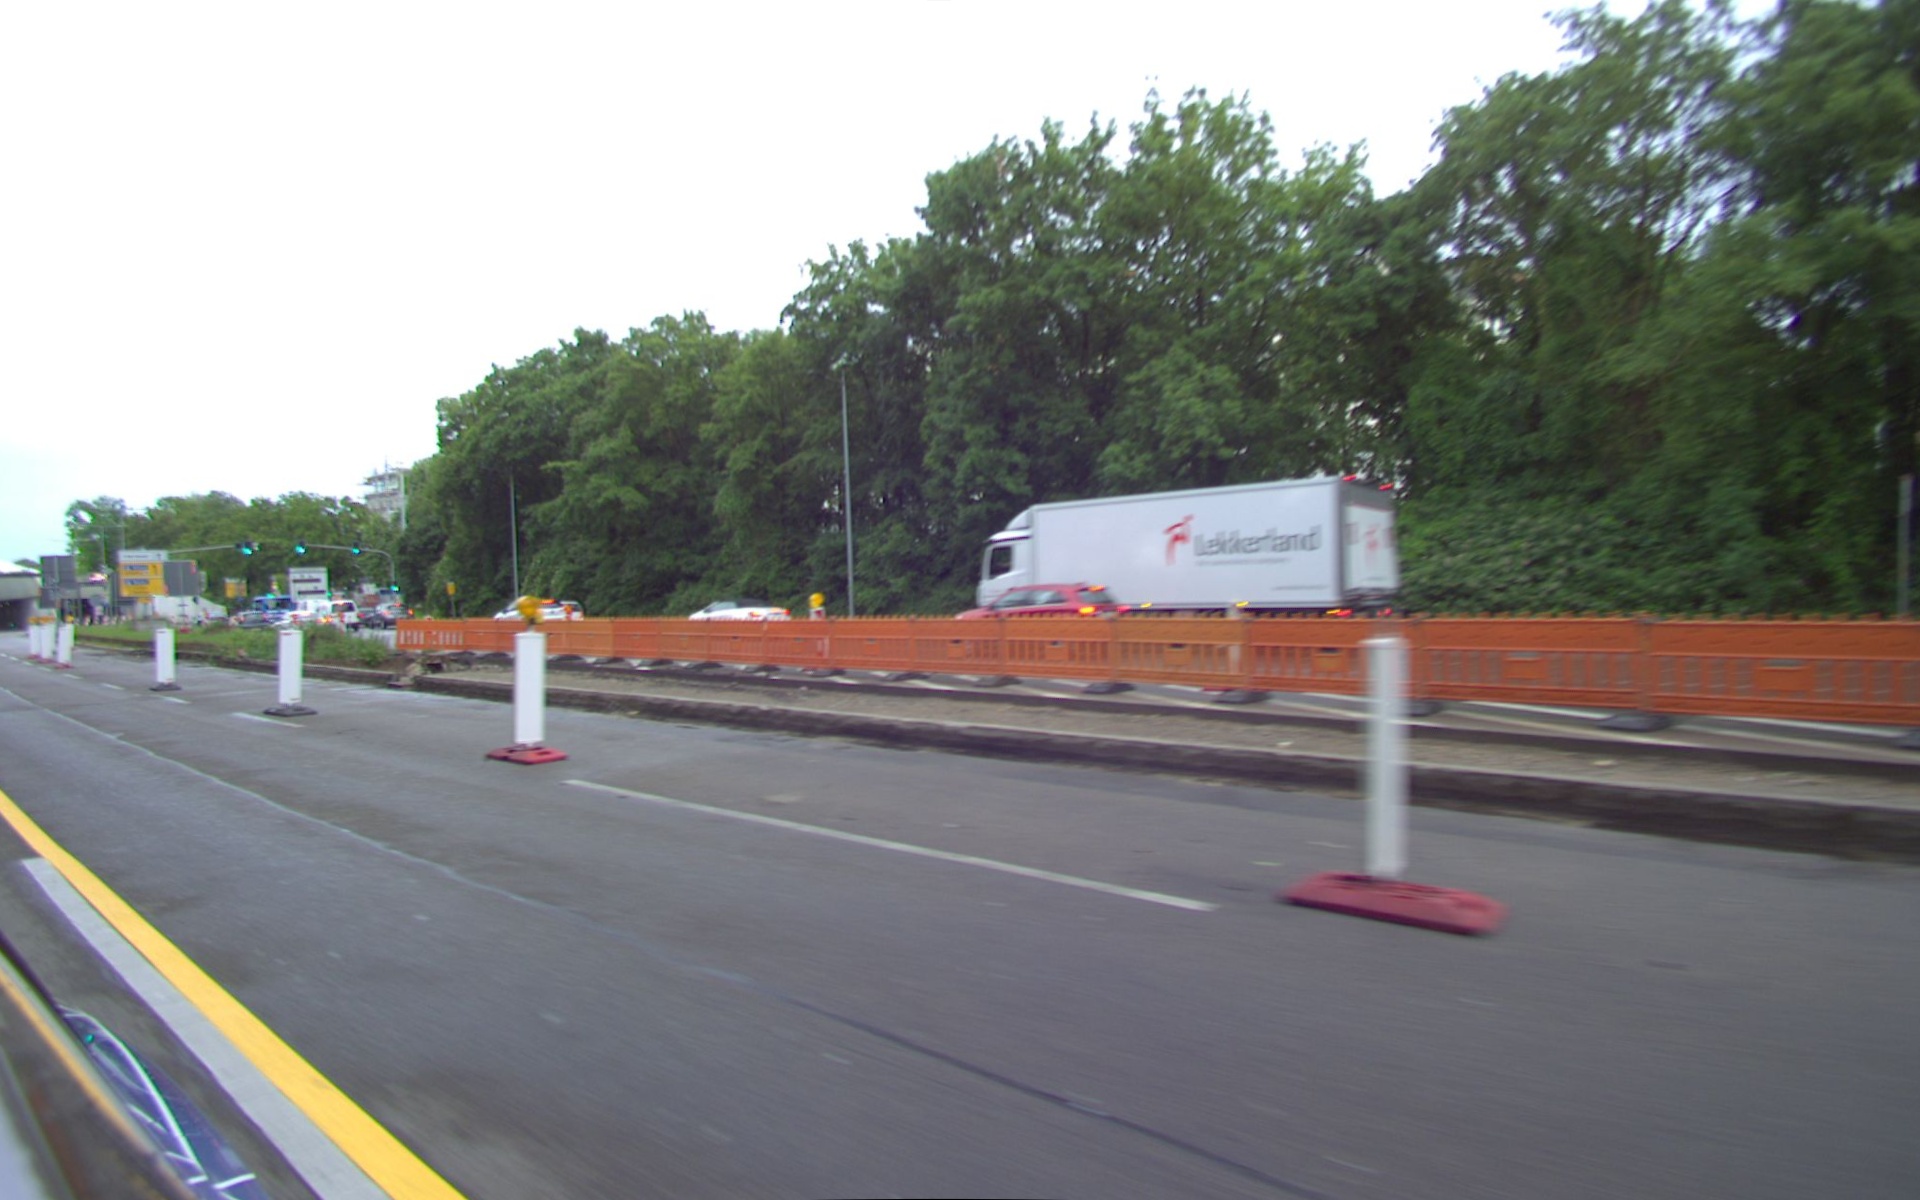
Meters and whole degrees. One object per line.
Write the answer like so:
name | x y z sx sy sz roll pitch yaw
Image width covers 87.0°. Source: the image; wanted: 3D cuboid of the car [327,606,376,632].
car | -40.552 1.249 67.395 1.773 1.535 4.638 -4 2 -44

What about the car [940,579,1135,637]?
car | 1.651 0.182 22.708 4.282 1.161 1.588 -1 1 42

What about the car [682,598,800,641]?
car | -7.727 0.671 35.497 4.367 1.389 1.791 -1 1 42

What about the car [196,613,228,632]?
car | -55.337 1.643 74.827 1.530 1.209 4.654 -3 2 -40

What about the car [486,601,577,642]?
car | -17.307 0.860 40.815 4.039 1.562 1.815 -1 0 42

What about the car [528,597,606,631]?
car | -18.103 0.653 46.503 3.895 1.436 1.772 -1 0 42

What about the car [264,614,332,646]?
car | -34.367 1.538 52.514 4.678 1.497 1.836 -2 0 43

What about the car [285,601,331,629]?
car | -51.608 1.233 80.044 2.011 1.989 4.993 -4 1 -44

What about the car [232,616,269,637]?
car | -44.351 1.660 63.237 1.413 1.209 3.303 -4 2 -44

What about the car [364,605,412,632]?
car | -35.148 1.117 62.137 1.652 1.535 3.793 -4 2 -44

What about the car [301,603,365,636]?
car | -37.312 1.152 60.192 4.832 1.794 1.894 -2 1 42

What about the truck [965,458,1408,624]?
truck | 4.816 -1.099 23.863 10.146 3.172 2.766 -1 1 43

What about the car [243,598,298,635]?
car | -50.333 1.230 73.816 2.170 2.408 6.248 -4 1 -44
